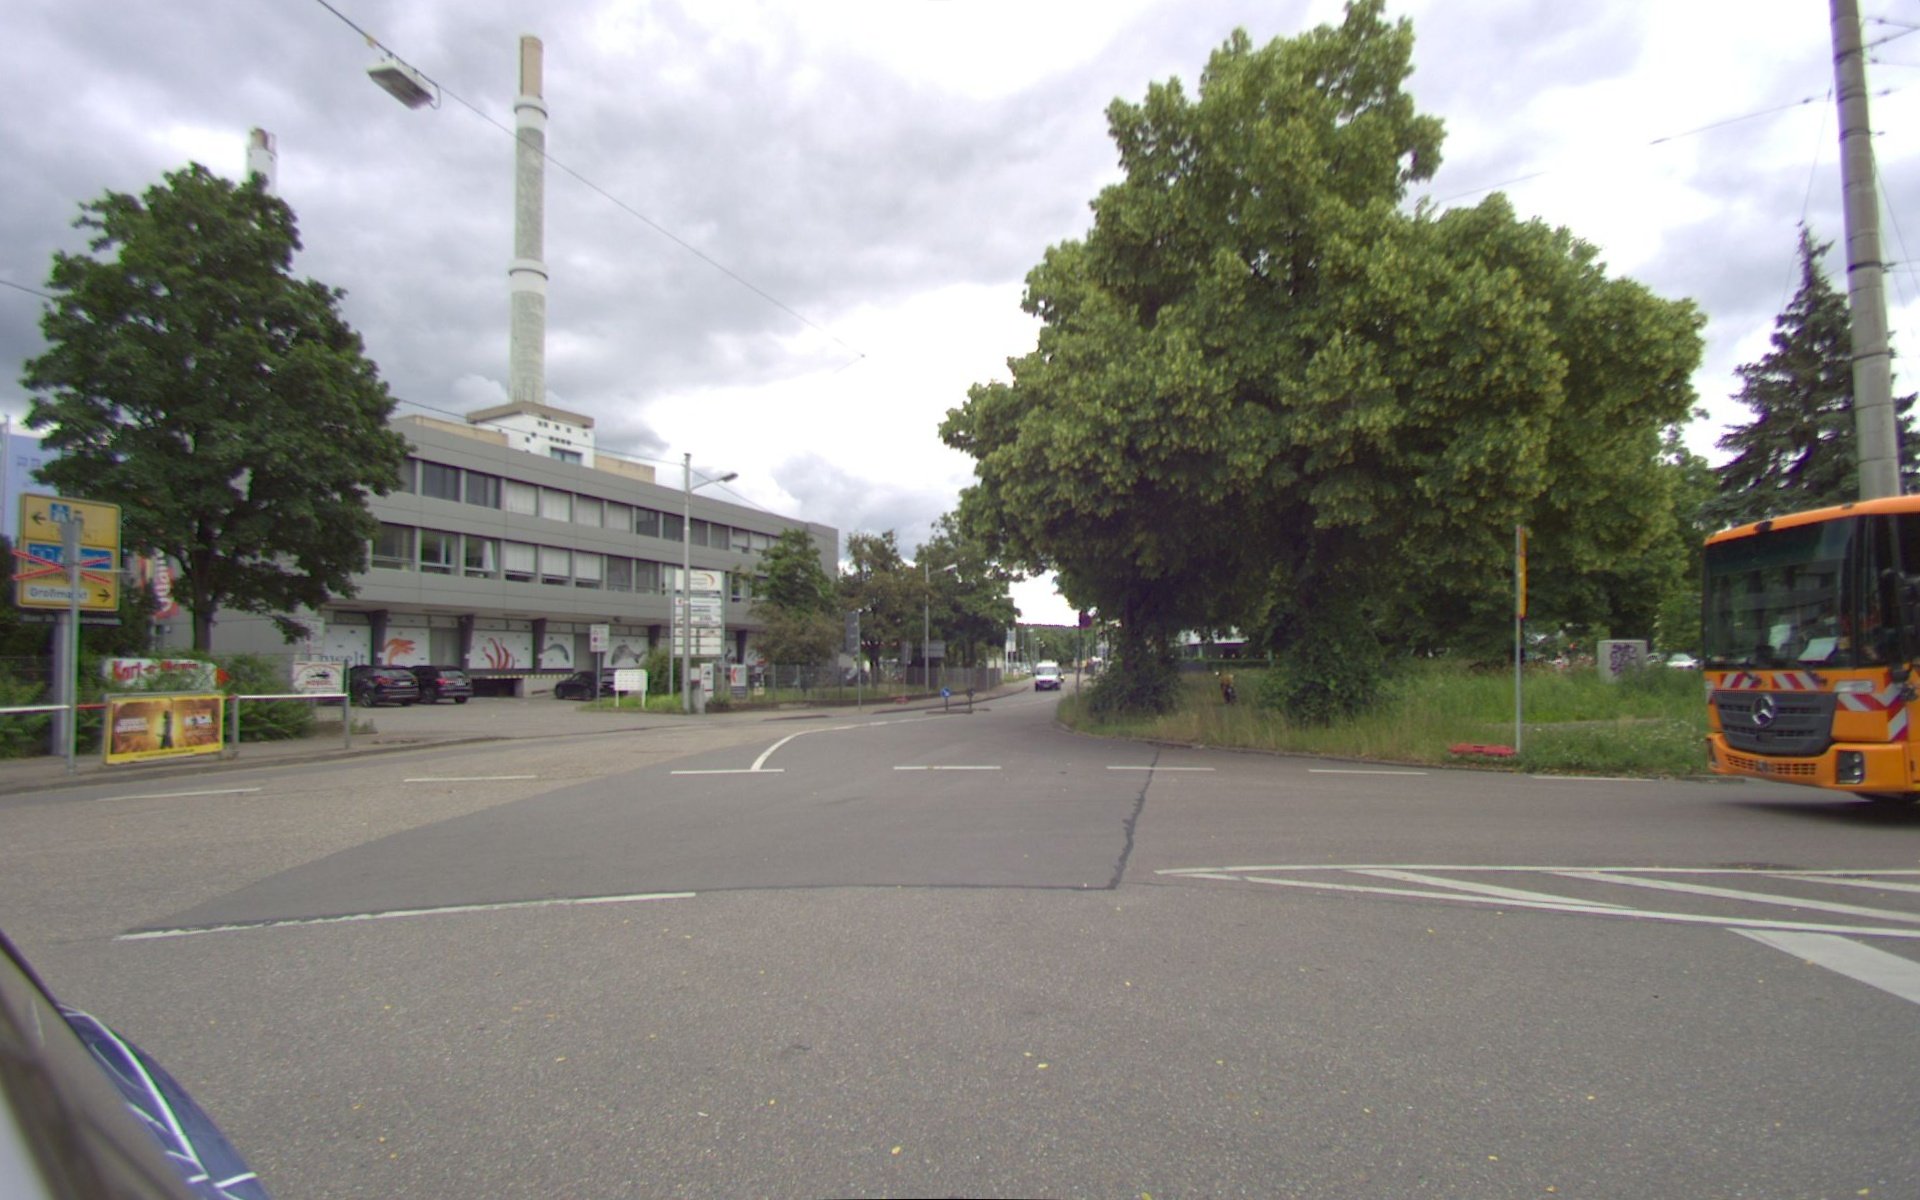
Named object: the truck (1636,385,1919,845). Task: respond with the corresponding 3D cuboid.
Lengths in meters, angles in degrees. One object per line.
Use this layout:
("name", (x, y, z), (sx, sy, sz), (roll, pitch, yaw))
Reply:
("truck", (12.270, 0.008, 8.868), (10.287, 3.554, 2.794), (-2, -3, 4))

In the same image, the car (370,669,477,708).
("car", (-23.657, 3.859, 44.644), (4.397, 1.630, 1.824), (-1, -4, 24))

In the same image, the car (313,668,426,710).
("car", (-24.490, 3.665, 41.940), (4.440, 1.630, 1.823), (-1, -4, 25))

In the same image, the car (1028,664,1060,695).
("car", (7.345, 6.877, 87.809), (2.362, 2.478, 6.084), (-2, -4, 8))

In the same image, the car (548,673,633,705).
("car", (-18.746, 4.458, 51.210), (4.828, 1.456, 2.022), (-2, -4, 42))
